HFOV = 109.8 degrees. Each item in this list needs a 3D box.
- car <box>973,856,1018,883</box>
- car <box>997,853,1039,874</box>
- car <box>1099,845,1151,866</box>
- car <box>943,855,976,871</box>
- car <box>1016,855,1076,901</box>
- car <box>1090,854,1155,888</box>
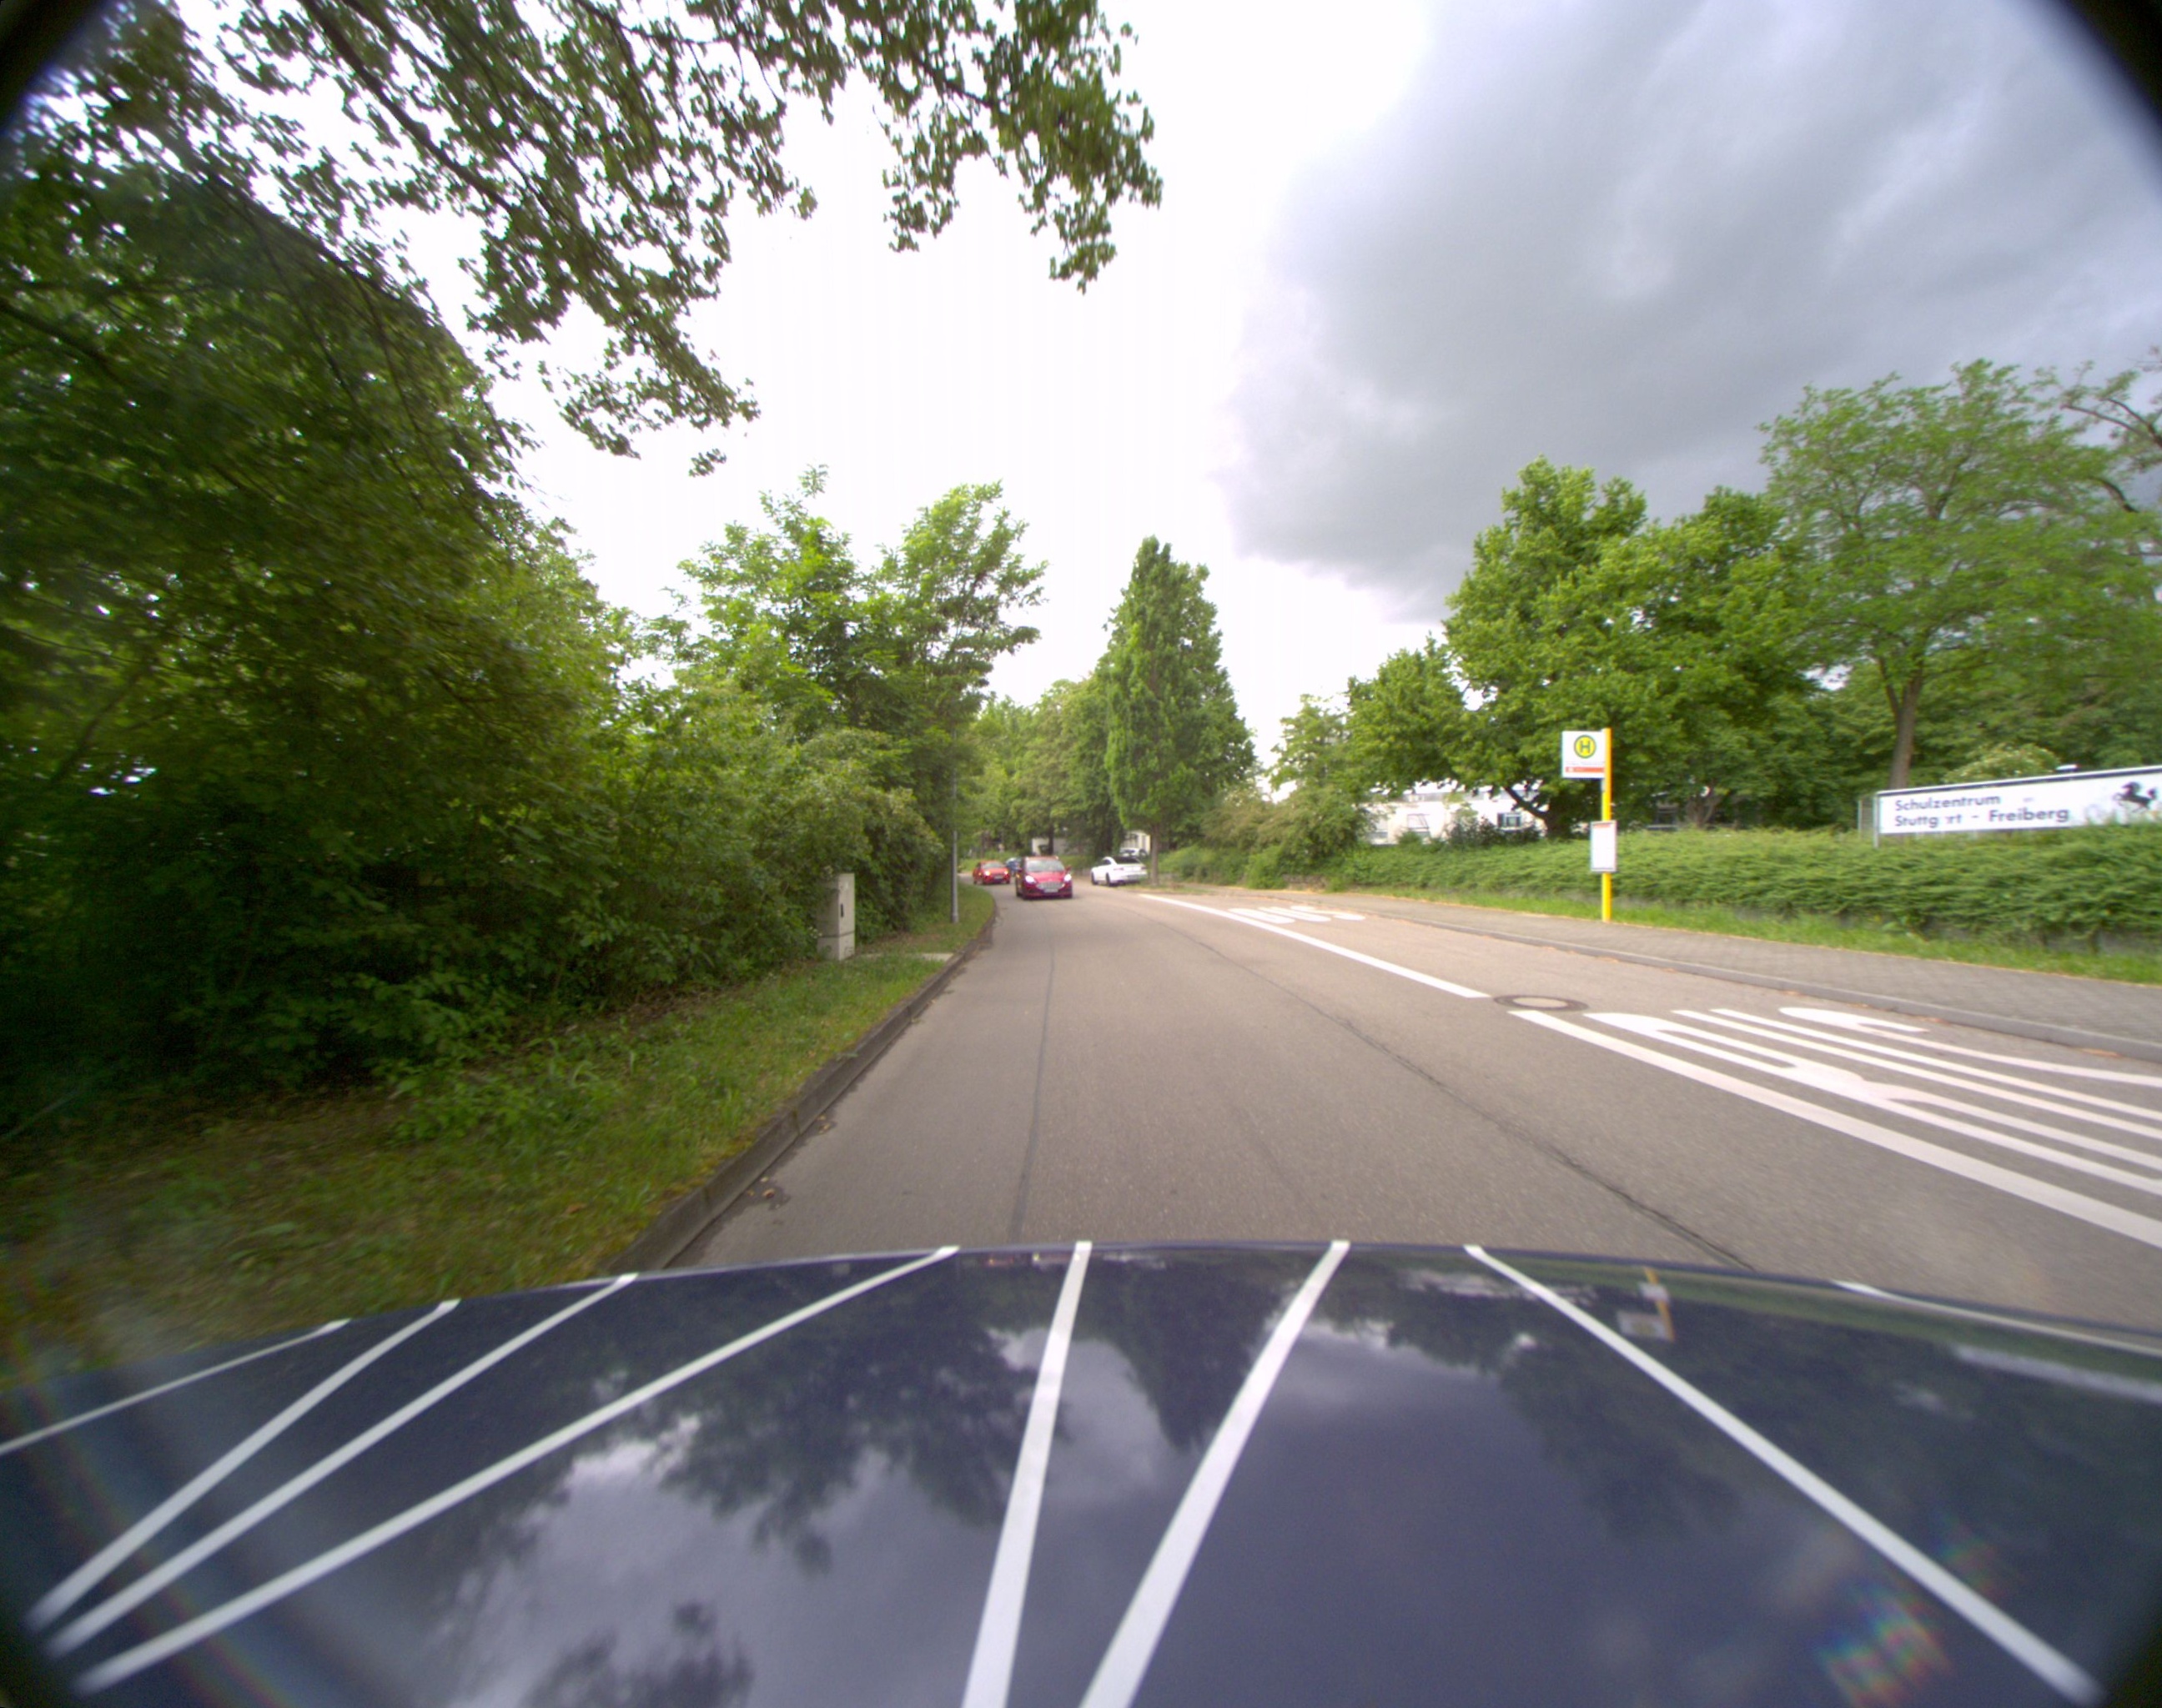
[{"bbox_3d":[-5.309,0.902,46.513,1.950,1.523,4.080,-2,1,-17],"label":"car"},{"bbox_3d":[-4.953,0.727,59.169,1.856,1.483,3.991,-2,0,-26],"label":"car"},{"bbox_3d":[3.649,0.117,63.619,3.802,1.629,2.003,-1,2,30],"label":"car"},{"bbox_3d":[-12.086,0.849,75.453,1.857,1.483,3.990,-2,0,-31],"label":"car"},{"bbox_3d":[-1.445,0.896,30.009,1.946,1.550,4.352,-2,1,-7],"label":"car"},{"bbox_3d":[1.922,0.783,36.847,1.854,1.483,4.630,-2,0,-13],"label":"car"}]
